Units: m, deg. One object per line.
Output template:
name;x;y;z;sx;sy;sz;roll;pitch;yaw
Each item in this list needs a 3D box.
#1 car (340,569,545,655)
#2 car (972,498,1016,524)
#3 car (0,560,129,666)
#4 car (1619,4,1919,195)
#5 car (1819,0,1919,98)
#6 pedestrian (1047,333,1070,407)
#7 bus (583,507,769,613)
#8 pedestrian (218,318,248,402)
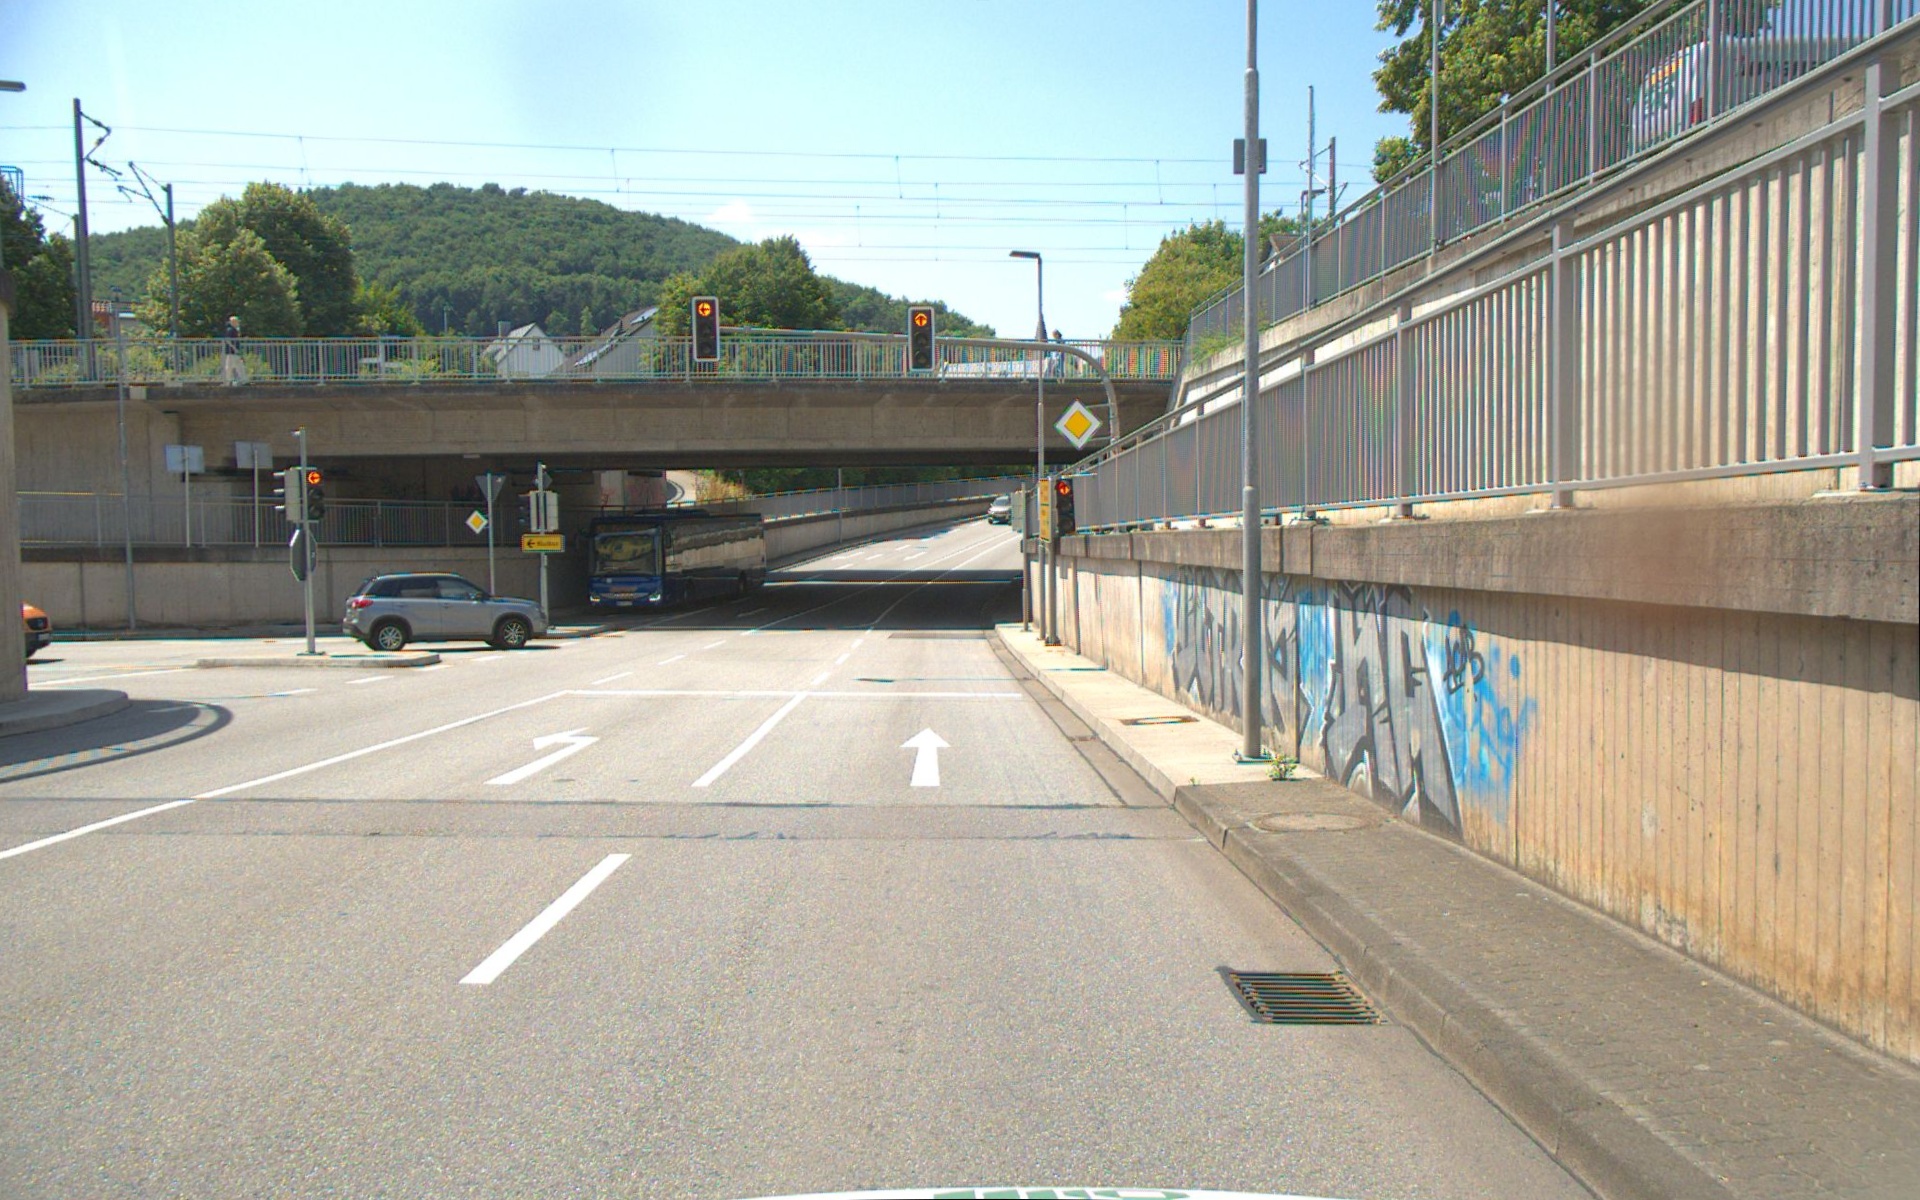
car;-10.916;0.205;34.884;3.937;1.646;1.796;-1;3;-25
car;2.225;-5.748;107.439;1.951;1.655;4.004;1;3;15
car;-19.121;0.241;32.447;4.619;1.965;1.874;-1;3;-11
car;9.329;-5.290;17.642;3.904;1.512;1.770;0;1;2
car;9.596;-5.216;13.831;3.904;1.512;1.770;0;1;2
pedestrian;2.911;-6.791;48.964;0.529;2.117;0.534;-1;1;-8
bus;-9.338;-1.523;56.362;2.526;3.227;12.391;0;3;8
pedestrian;-18.833;-6.204;42.836;0.566;2.117;0.533;-1;1;-12
